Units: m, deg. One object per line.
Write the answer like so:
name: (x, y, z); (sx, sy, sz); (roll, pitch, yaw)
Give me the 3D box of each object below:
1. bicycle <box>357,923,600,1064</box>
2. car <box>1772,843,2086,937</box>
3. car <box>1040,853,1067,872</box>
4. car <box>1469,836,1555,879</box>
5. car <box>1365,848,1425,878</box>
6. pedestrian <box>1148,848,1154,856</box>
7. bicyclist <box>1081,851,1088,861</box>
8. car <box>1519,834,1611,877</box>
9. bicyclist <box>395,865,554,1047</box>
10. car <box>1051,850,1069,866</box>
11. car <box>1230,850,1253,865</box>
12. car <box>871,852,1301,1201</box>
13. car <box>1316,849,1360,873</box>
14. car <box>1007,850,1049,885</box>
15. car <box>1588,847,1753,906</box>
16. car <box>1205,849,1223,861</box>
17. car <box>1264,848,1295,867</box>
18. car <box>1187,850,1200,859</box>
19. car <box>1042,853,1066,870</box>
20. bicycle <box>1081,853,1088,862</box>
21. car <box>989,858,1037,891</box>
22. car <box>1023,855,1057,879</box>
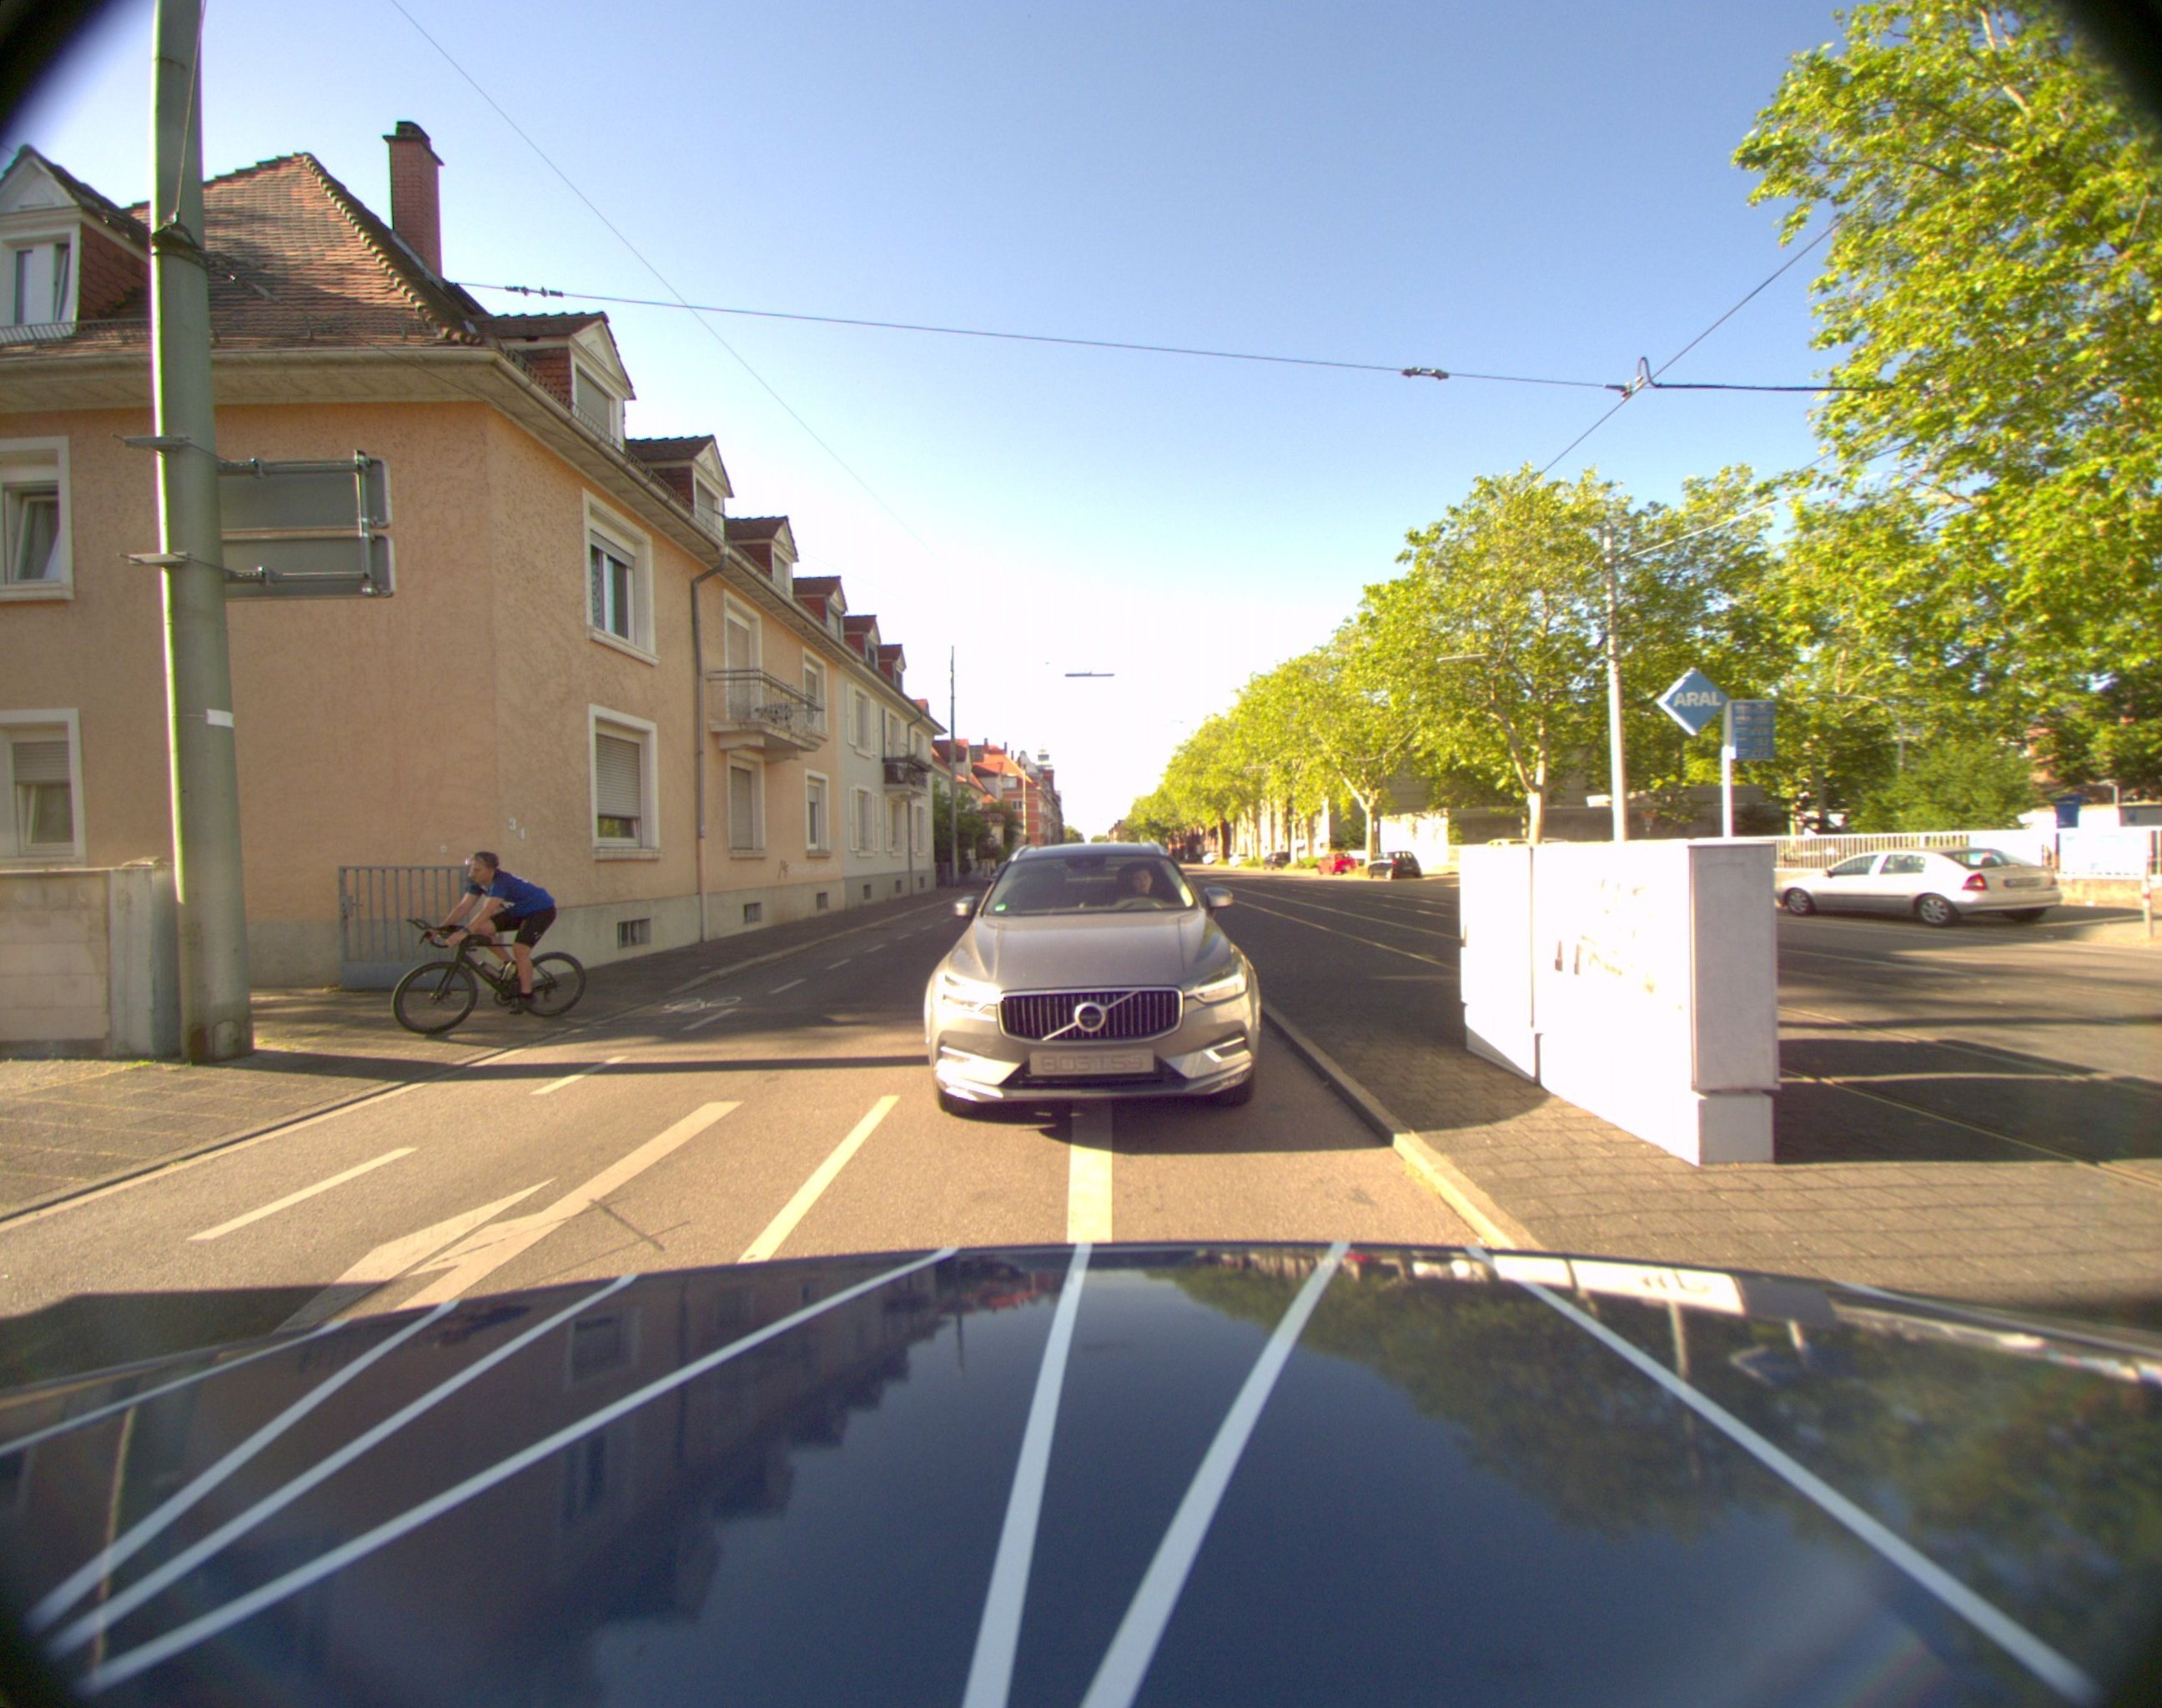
bicycle: (-5.797, 1.280, 7.455); (0.549, 1.056, 1.798); (3, 0, 21)
car: (16.239, 0.607, 14.909); (1.847, 1.477, 3.858); (-4, 0, 2)
car: (-2.130, 0.661, 60.059); (1.867, 1.399, 4.078); (-1, 0, 1)
car: (21.813, 0.167, 38.642); (1.999, 2.002, 3.999); (-1, 0, -1)
car: (16.893, 0.456, 41.043); (1.758, 1.449, 3.858); (-3, 0, 3)
pedestrian: (19.605, -0.556, 213.138); (1.686, 2.002, 1.761); (-1, 1, 1)
bicyclist: (0.530, 0.275, 116.270); (1.054, 1.496, 1.250); (-1, 1, 1)
car: (24.161, 0.079, 38.101); (1.999, 2.002, 3.999); (-1, 0, -1)
bicyclist: (-5.850, 0.930, 7.382); (0.561, 1.607, 1.018); (-1, 1, 21)
car: (-2.320, 0.423, 85.453); (1.867, 1.653, 4.078); (-1, 0, 1)
car: (17.582, 0.351, 83.345); (1.758, 1.475, 3.858); (-3, 0, 3)
car: (0.056, 0.813, 5.933); (1.998, 1.609, 4.697); (-1, 0, 1)
car: (16.906, 0.448, 50.185); (1.717, 1.421, 3.858); (-3, 0, 3)
car: (-2.912, 0.696, 42.833); (1.867, 1.778, 5.297); (-1, 0, 1)
car: (16.479, 0.568, 21.516); (1.745, 1.389, 3.858); (-4, 0, 3)
car: (17.677, 0.158, 100.938); (1.758, 1.475, 3.858); (-3, 0, 3)
car: (17.176, 0.290, 65.917); (1.758, 1.536, 3.858); (-3, 0, 3)
car: (18.514, 0.051, 125.295); (1.758, 1.475, 3.858); (-3, 0, 3)
car: (-2.350, 0.614, 66.364); (1.867, 1.399, 4.078); (-1, 0, 1)
bicycle: (0.526, 0.518, 116.333); (1.054, 1.262, 3.914); (-1, 0, 1)
car: (-3.235, 0.959, 37.079); (1.867, 1.399, 4.424); (-1, 0, 1)
car: (-2.576, 0.808, 48.500); (1.867, 1.399, 4.078); (-1, 0, 1)
